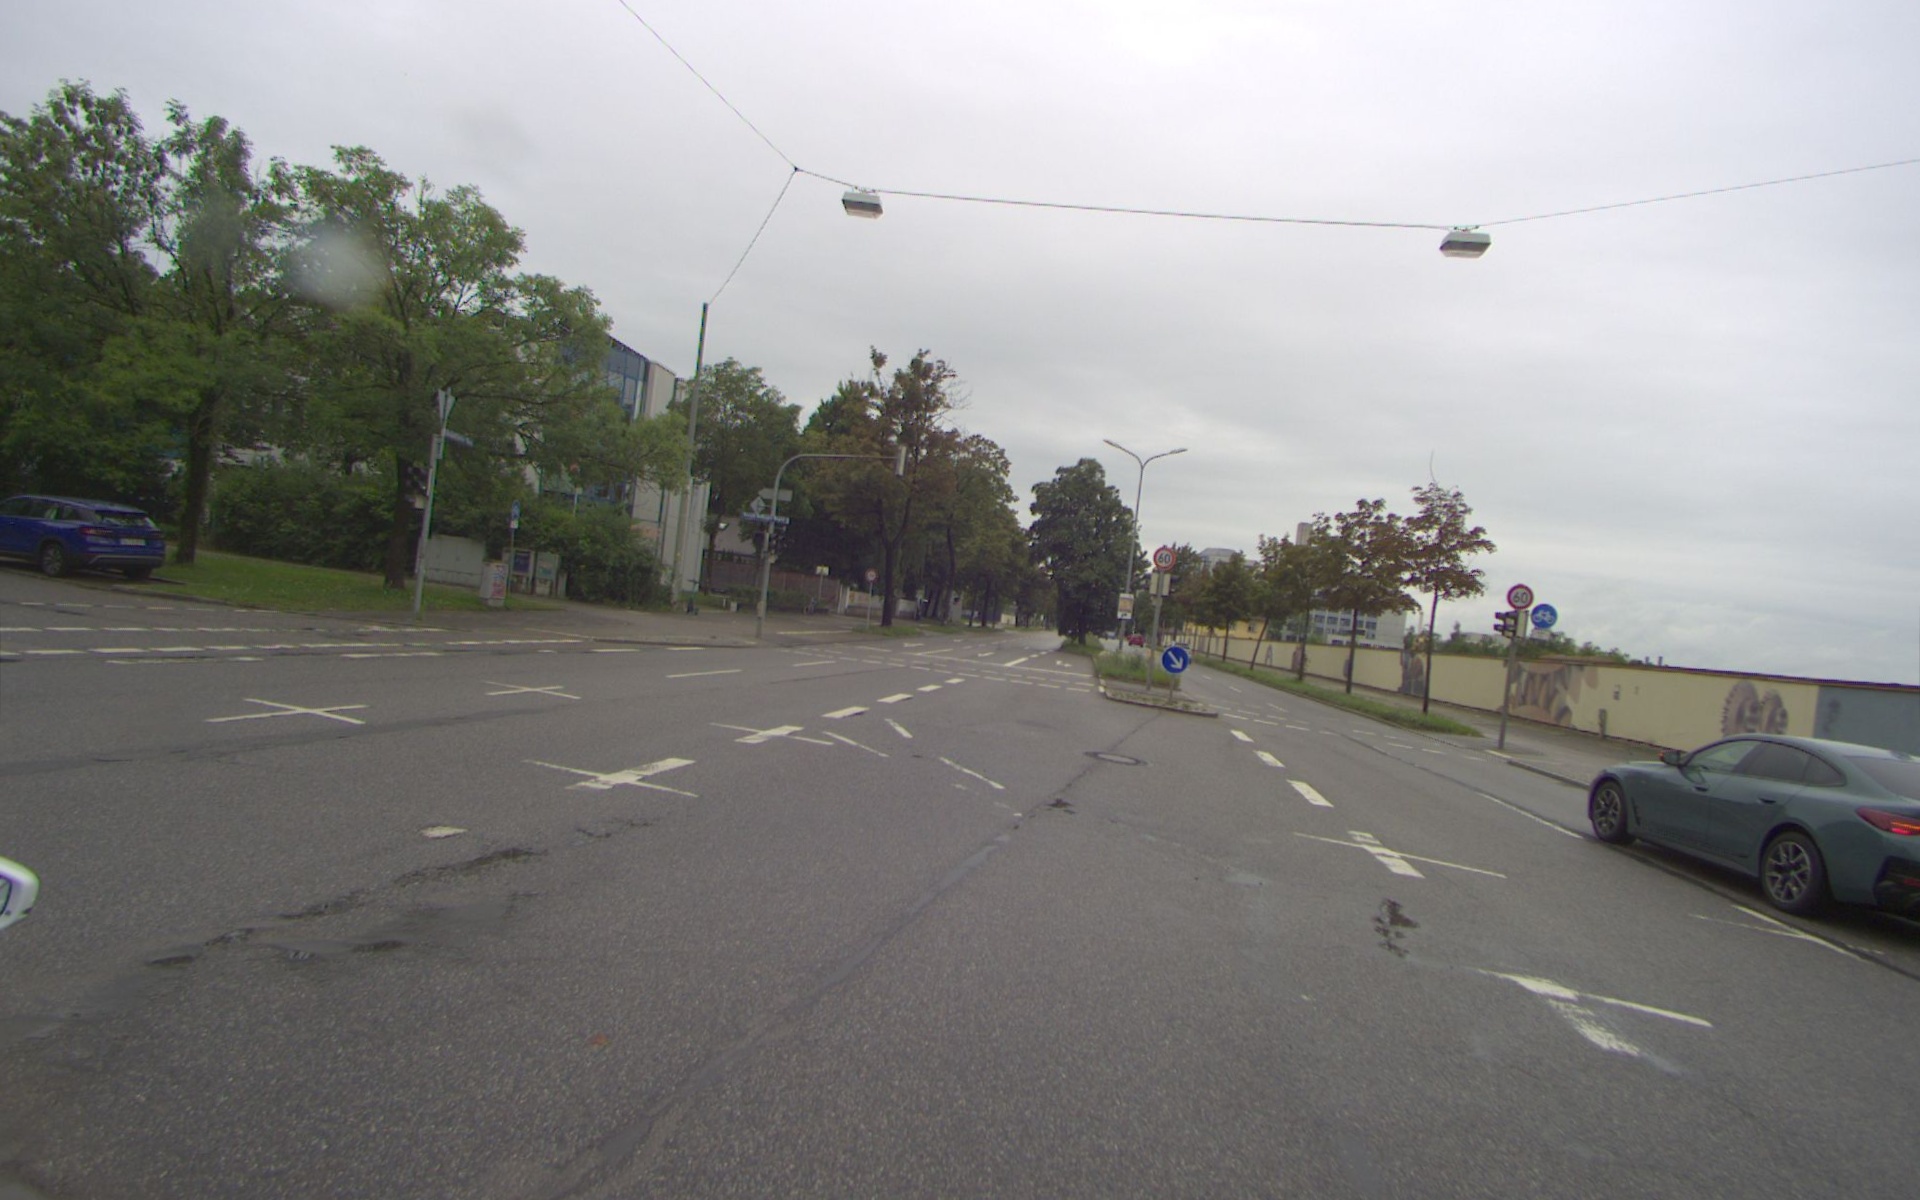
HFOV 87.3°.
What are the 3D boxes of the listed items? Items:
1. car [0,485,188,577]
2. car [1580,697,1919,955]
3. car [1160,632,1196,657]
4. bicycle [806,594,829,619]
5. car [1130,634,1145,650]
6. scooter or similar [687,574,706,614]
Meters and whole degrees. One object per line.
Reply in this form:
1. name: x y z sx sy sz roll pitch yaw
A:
1. car: -19.573 -1.549 22.087 4.201 1.595 1.999 7 2 16
2. car: 7.904 1.943 9.284 1.881 1.525 4.442 8 0 8
3. car: 15.838 3.210 73.320 1.849 1.485 4.504 8 0 5
4. bicycle: -8.104 0.360 57.181 0.573 1.311 2.455 8 0 5
5. car: 23.316 5.509 132.544 1.461 1.736 3.553 8 0 6
6. scooter or similar: -9.916 -0.219 37.903 0.365 1.441 1.403 8 0 -8
